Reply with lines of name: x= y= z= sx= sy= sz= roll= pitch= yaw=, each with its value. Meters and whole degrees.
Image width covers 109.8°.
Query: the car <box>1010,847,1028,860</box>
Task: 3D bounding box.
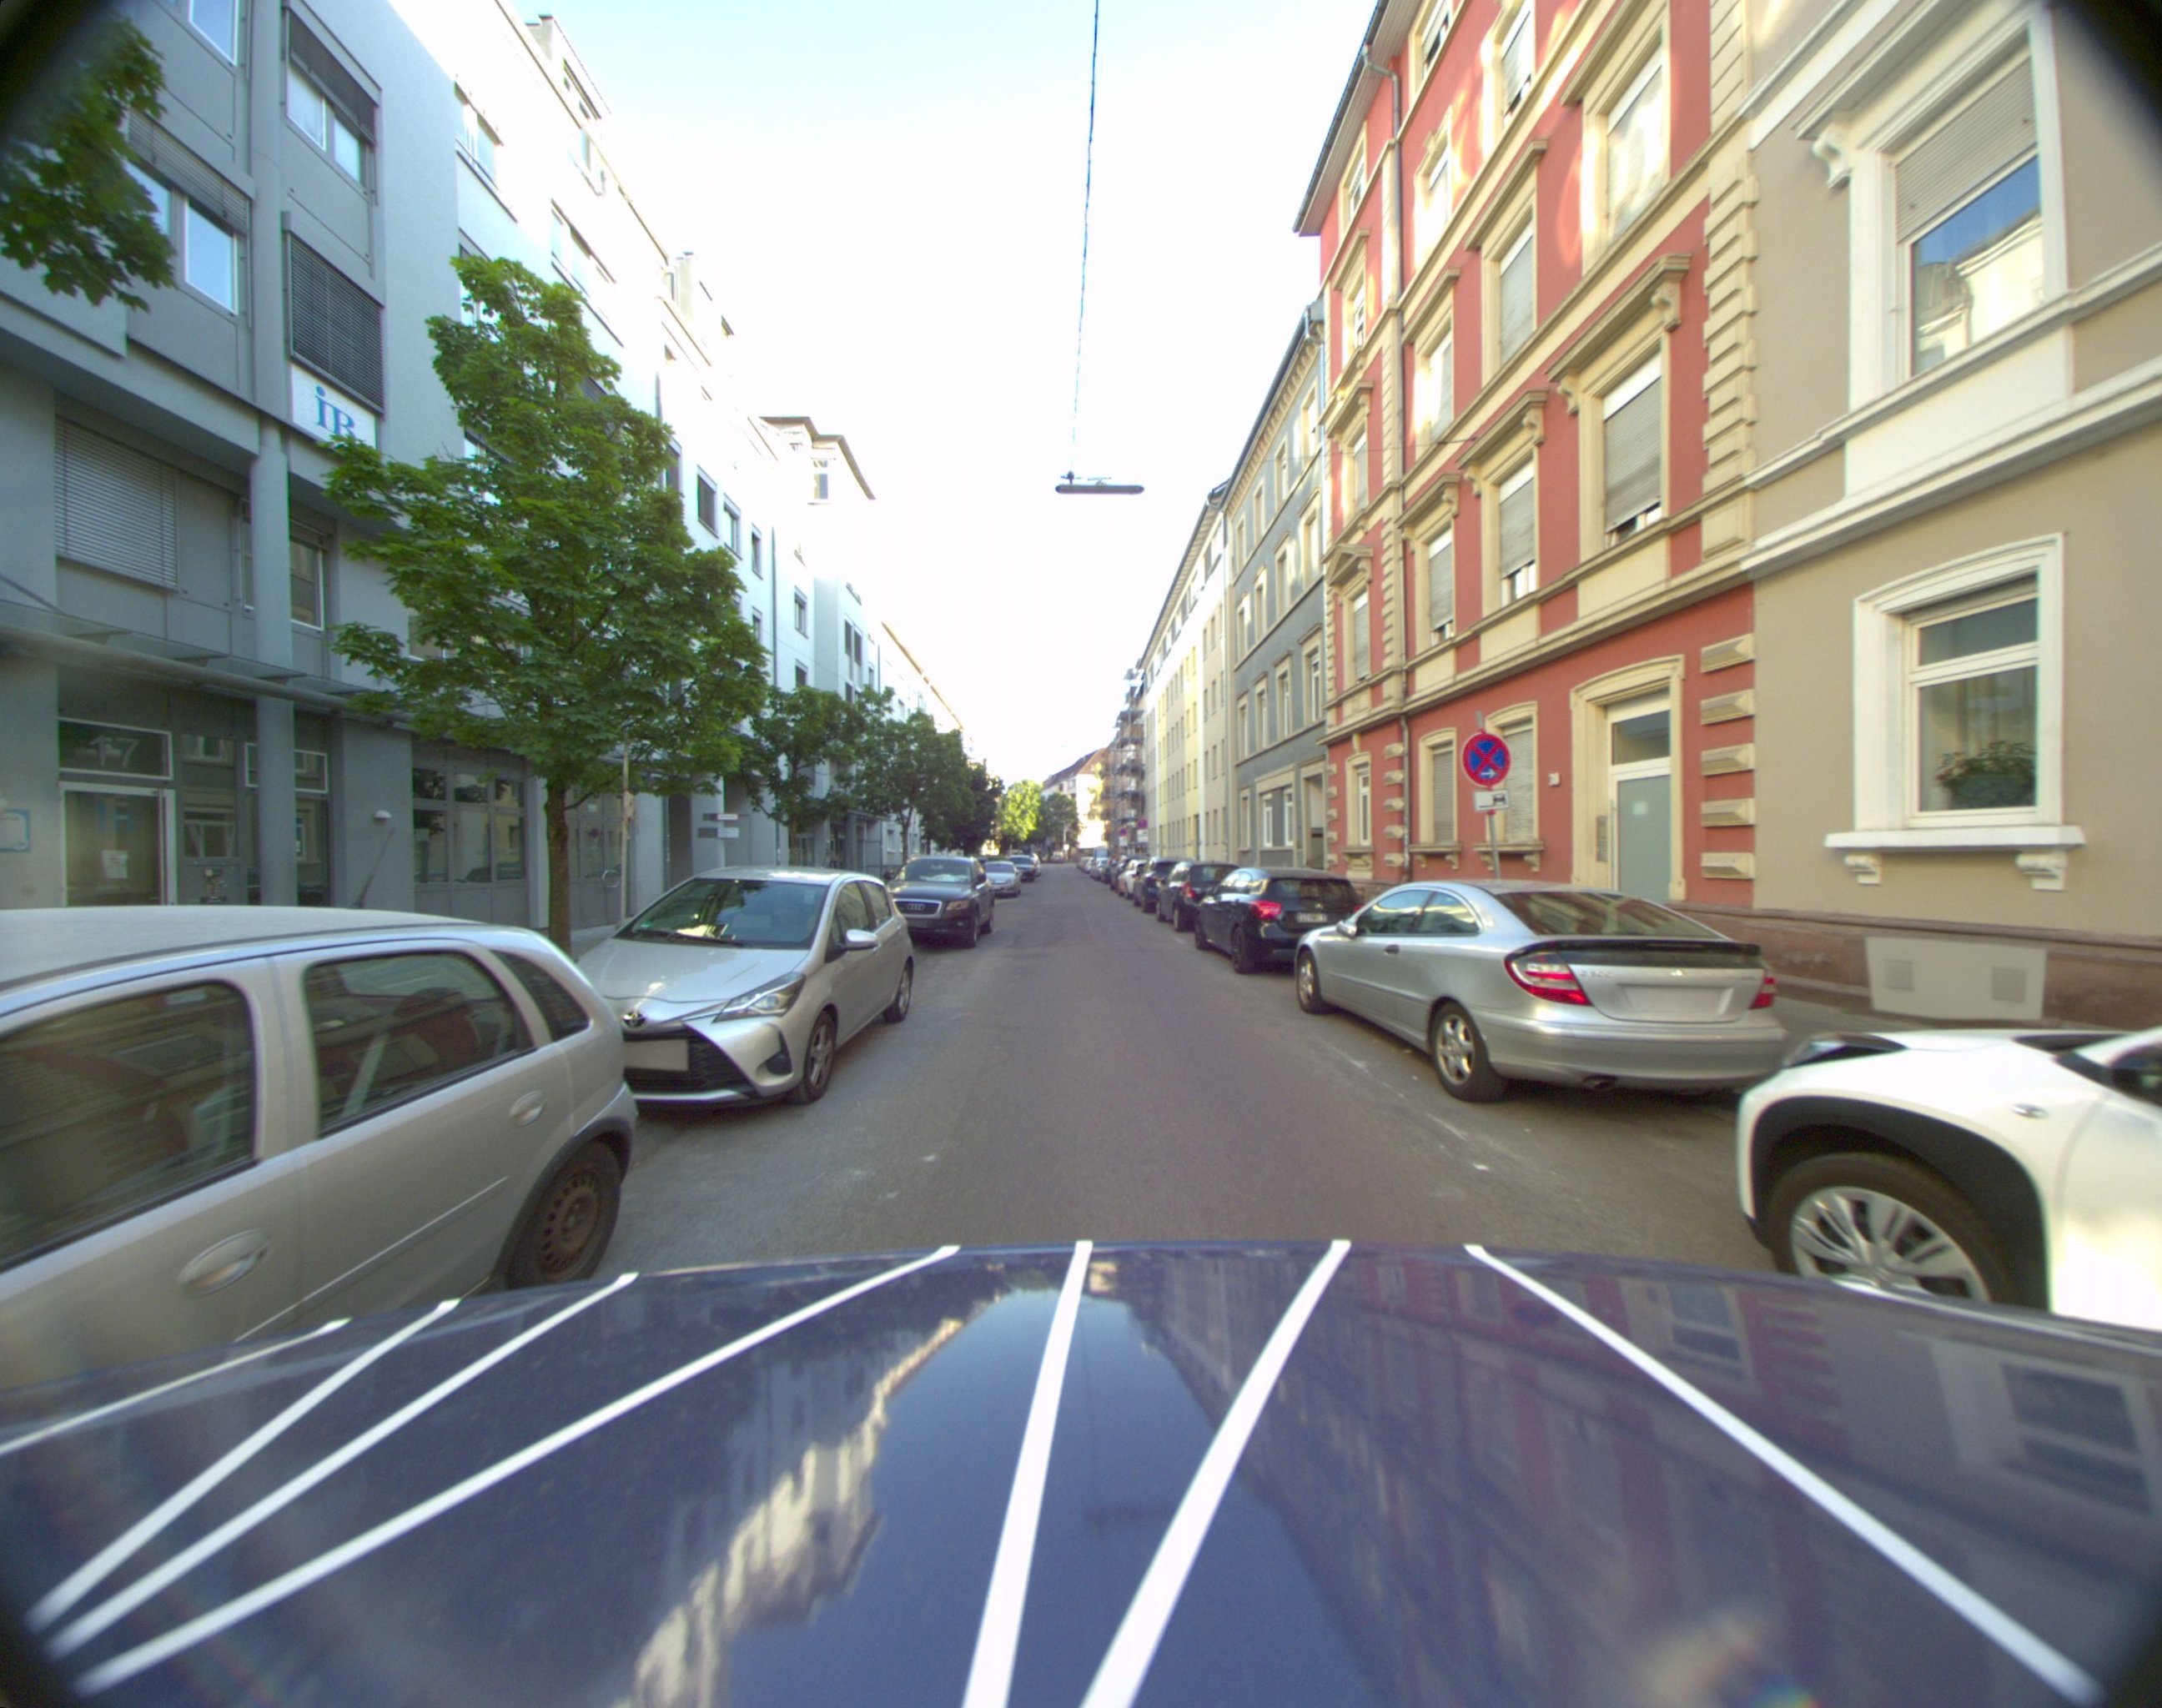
car: x=-11.377 y=-0.114 z=139.495 sx=2.163 sy=2.270 sz=6.199 roll=1 pitch=0 yaw=-15

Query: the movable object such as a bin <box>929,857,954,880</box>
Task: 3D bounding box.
movable object such as a bin: x=-8.122 y=0.850 z=44.314 sx=1.265 sy=1.313 sz=1.138 roll=0 pitch=1 yaw=-2

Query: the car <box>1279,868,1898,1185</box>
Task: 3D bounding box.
car: x=3.186 y=0.936 z=6.047 sx=1.926 sy=1.551 sz=4.266 roll=1 pitch=0 yaw=-2

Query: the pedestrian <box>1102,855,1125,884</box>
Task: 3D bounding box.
pedestrian: x=1.677 y=0.774 z=38.944 sx=0.868 sy=1.455 sz=0.804 roll=1 pitch=1 yaw=31

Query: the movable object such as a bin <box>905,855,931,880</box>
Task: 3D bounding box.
movable object such as a bin: x=-9.421 y=0.792 z=44.025 sx=1.265 sy=1.428 sz=1.138 roll=0 pitch=1 yaw=-2

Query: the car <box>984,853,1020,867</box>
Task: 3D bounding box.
car: x=-9.080 y=0.645 z=87.092 sx=3.998 sy=1.556 sz=1.999 roll=1 pitch=1 yaw=-4

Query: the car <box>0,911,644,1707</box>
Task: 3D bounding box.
car: x=-2.635 y=0.982 z=1.195 sx=1.680 sy=1.467 sz=3.729 roll=1 pitch=0 yaw=1

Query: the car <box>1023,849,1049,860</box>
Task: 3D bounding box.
car: x=-7.267 y=0.124 z=122.311 sx=2.086 sy=1.760 sz=4.206 roll=0 pitch=1 yaw=-39

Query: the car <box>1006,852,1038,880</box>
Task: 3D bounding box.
car: x=-3.703 y=0.722 z=48.042 sx=1.876 sy=1.626 sz=4.720 roll=1 pitch=0 yaw=-3

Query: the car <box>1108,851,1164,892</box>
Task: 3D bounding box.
car: x=2.352 y=0.740 z=33.509 sx=1.926 sy=1.654 sz=4.468 roll=1 pitch=0 yaw=-2

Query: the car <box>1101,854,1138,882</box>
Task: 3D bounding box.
car: x=2.145 y=0.777 z=43.569 sx=1.784 sy=1.480 sz=4.419 roll=1 pitch=0 yaw=-2

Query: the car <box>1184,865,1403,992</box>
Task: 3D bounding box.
car: x=2.894 y=0.947 z=11.442 sx=1.926 sy=1.475 sz=4.266 roll=1 pitch=0 yaw=-2

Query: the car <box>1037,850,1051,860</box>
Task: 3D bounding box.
car: x=-7.185 y=0.205 z=146.866 sx=2.082 sy=1.760 sz=4.214 roll=1 pitch=0 yaw=-9

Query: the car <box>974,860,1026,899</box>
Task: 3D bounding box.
car: x=-3.258 y=0.983 z=31.174 sx=1.768 sy=1.421 sz=4.344 roll=1 pitch=0 yaw=-1

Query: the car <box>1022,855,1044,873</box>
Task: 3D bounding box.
car: x=-4.000 y=0.833 z=63.593 sx=1.681 sy=1.411 sz=4.135 roll=1 pitch=0 yaw=-1

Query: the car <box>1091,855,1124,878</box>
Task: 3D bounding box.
car: x=1.806 y=0.834 z=53.788 sx=1.928 sy=1.480 sz=4.615 roll=1 pitch=0 yaw=-3

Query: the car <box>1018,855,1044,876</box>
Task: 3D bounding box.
car: x=-3.853 y=0.851 z=58.646 sx=1.680 sy=1.474 sz=3.652 roll=1 pitch=0 yaw=1

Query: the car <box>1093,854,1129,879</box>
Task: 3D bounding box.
car: x=1.865 y=0.757 z=48.418 sx=1.928 sy=1.480 sz=4.616 roll=1 pitch=0 yaw=-2

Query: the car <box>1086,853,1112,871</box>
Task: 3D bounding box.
car: x=1.554 y=0.700 z=68.232 sx=1.999 sy=1.496 sz=3.998 roll=1 pitch=0 yaw=-3

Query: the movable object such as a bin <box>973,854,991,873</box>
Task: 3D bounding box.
movable object such as a bin: x=-7.631 y=0.712 z=58.771 sx=1.288 sy=1.428 sz=1.223 roll=0 pitch=1 yaw=-2

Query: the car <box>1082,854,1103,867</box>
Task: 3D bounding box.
car: x=1.221 y=0.693 z=83.793 sx=1.999 sy=1.423 sz=3.998 roll=1 pitch=0 yaw=-3

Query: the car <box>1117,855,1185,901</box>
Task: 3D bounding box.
car: x=2.494 y=0.832 z=28.132 sx=1.926 sy=1.551 sz=4.266 roll=1 pitch=0 yaw=-2

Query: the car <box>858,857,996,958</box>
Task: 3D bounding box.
car: x=-2.810 y=0.906 z=14.897 sx=1.890 sy=1.613 sz=4.433 roll=1 pitch=0 yaw=-1

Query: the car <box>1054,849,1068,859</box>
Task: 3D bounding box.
car: x=-3.471 y=0.026 z=130.967 sx=2.081 sy=1.760 sz=4.214 roll=1 pitch=0 yaw=-8

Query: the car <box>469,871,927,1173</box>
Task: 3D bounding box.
car: x=-2.480 y=0.960 z=6.108 sx=1.681 sy=1.516 sz=3.970 roll=1 pitch=0 yaw=0

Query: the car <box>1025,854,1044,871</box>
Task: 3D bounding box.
car: x=-4.230 y=0.753 z=69.777 sx=1.681 sy=1.411 sz=4.135 roll=1 pitch=0 yaw=-2

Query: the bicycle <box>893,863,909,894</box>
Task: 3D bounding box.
bicycle: x=-6.990 y=0.933 z=29.554 sx=0.522 sy=1.161 sz=1.738 roll=1 pitch=1 yaw=-12

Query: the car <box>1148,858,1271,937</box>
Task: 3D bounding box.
car: x=2.783 y=0.885 z=17.415 sx=1.906 sy=1.551 sz=4.239 roll=1 pitch=0 yaw=-2

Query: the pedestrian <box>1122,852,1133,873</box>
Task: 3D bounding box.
pedestrian: x=3.874 y=0.676 z=62.836 sx=0.791 sy=1.750 sz=1.092 roll=1 pitch=1 yaw=-2

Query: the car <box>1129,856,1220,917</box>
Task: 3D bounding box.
car: x=2.607 y=0.870 z=22.231 sx=1.926 sy=1.551 sz=4.266 roll=1 pitch=0 yaw=-2

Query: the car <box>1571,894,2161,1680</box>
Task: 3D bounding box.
car: x=3.163 y=0.940 z=1.246 sx=1.925 sy=1.498 sz=4.267 roll=1 pitch=0 yaw=0
